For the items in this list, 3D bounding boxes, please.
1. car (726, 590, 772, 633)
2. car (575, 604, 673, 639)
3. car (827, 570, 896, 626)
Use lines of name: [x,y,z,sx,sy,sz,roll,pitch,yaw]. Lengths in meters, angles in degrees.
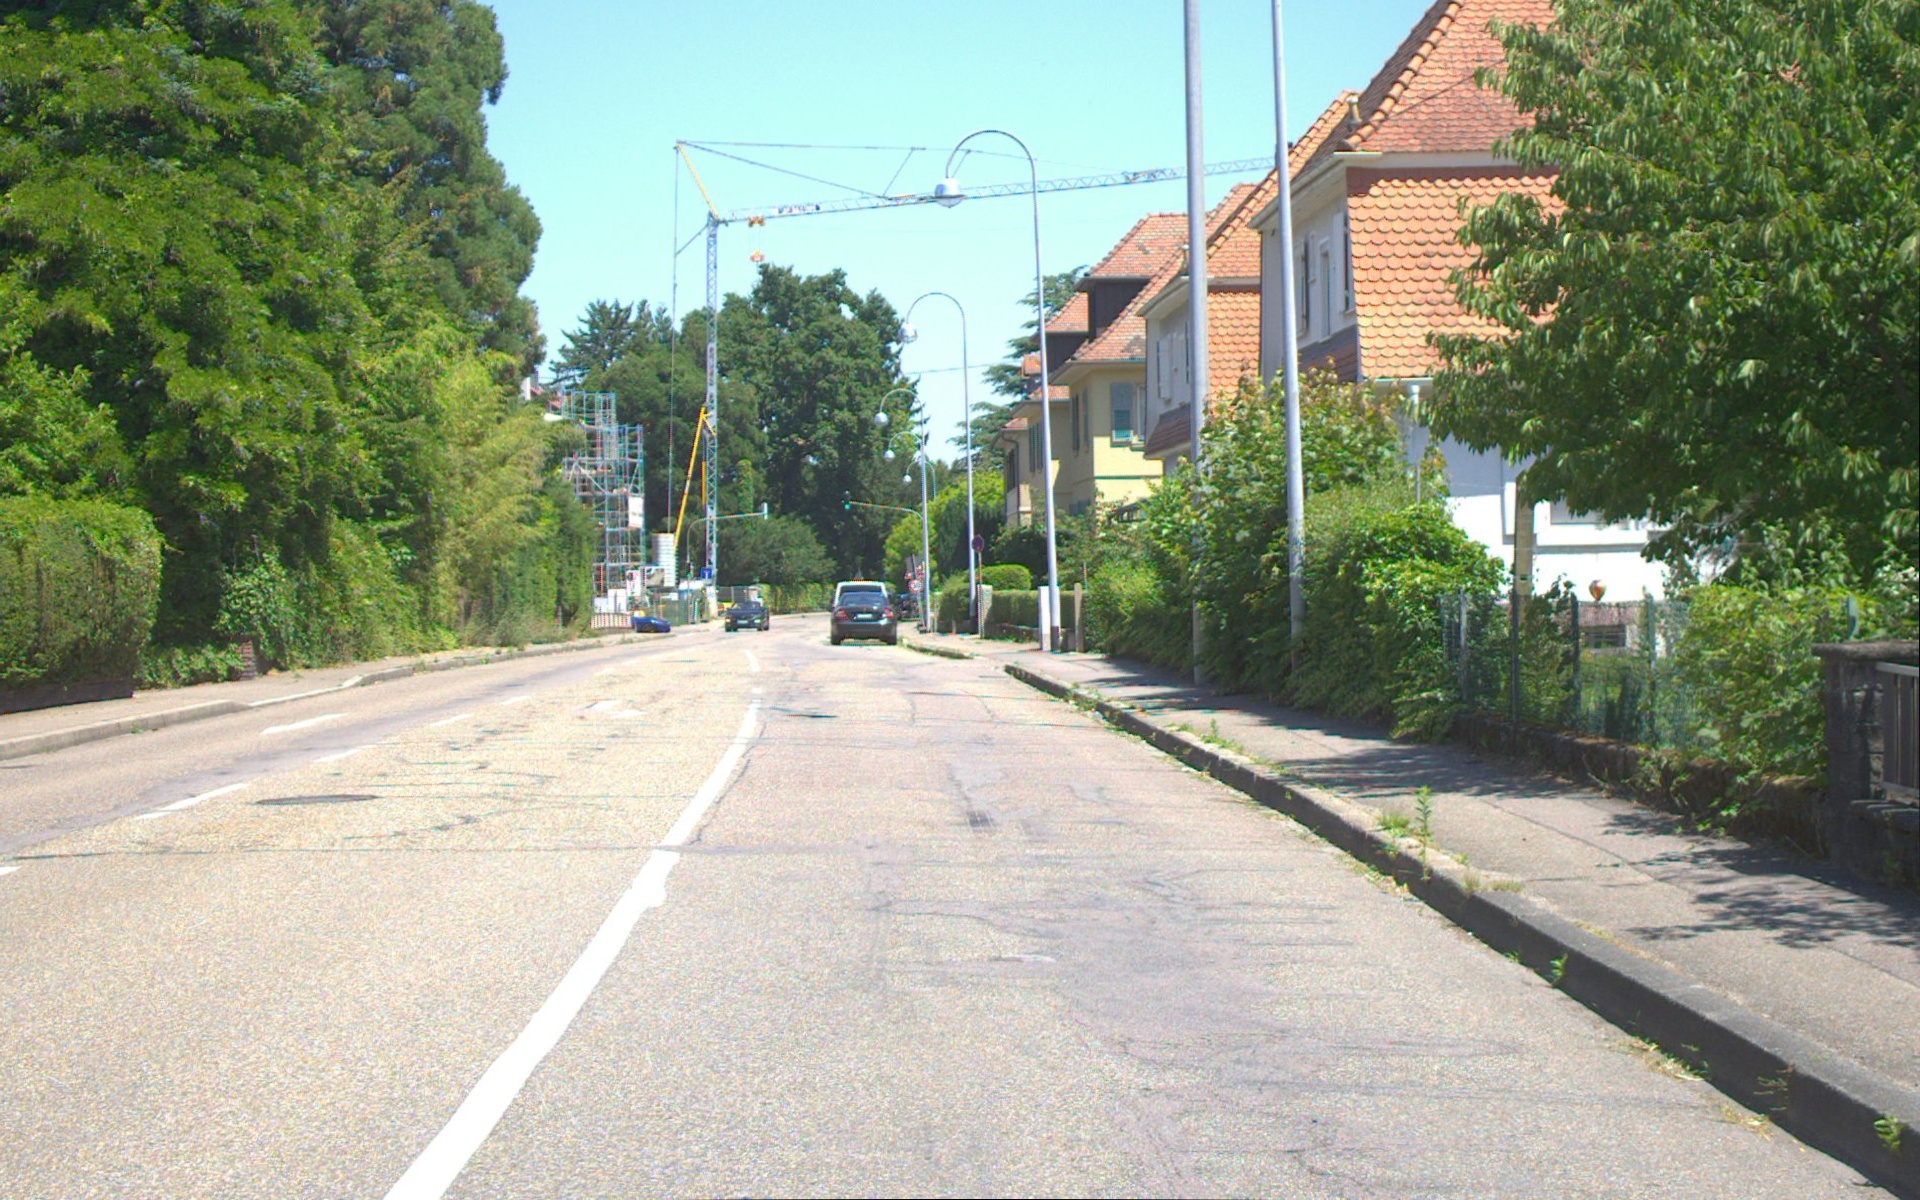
car: [-10.182,0.556,166.115,1.993,1.844,4.711,-1,2,-1]
car: [-15.267,0.975,156.457,3.989,1.463,1.964,-2,1,13]
car: [-2.639,-0.036,91.360,1.692,1.414,4.551,-1,-1,-3]
